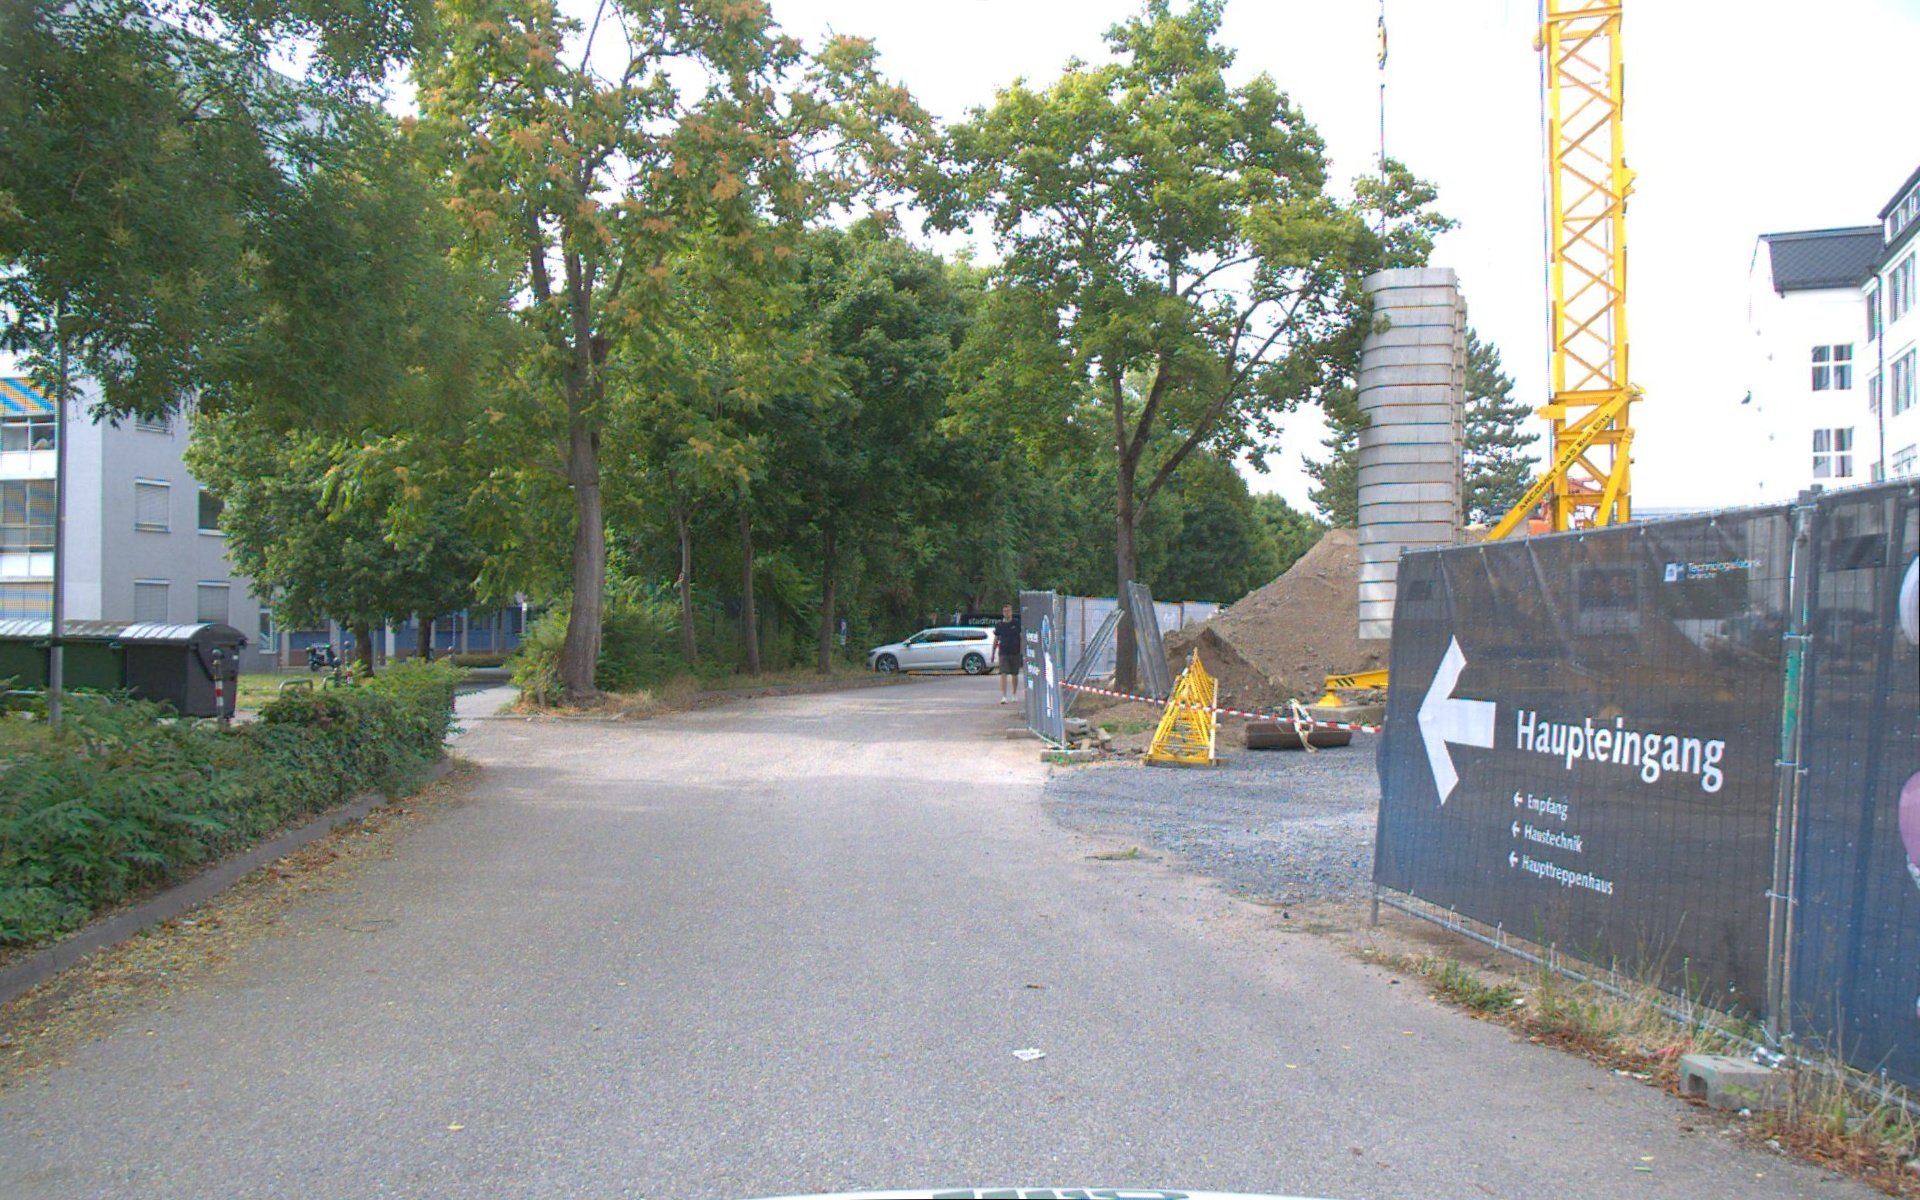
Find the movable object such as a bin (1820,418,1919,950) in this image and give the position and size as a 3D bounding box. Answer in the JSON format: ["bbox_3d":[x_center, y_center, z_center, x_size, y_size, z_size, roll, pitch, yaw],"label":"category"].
[{"bbox_3d":[5.697,0.383,7.088,2.438,2.486,3.061,0,-1,0],"label":"movable object such as a bin"}]

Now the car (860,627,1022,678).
[{"bbox_3d":[-0.559,1.612,51.393,4.690,1.514,2.001,0,-1,12],"label":"car"}]

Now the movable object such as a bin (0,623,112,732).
[{"bbox_3d":[-12.740,1.057,22.999,1.253,1.455,1.123,0,-1,18],"label":"movable object such as a bin"}]

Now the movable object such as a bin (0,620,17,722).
[{"bbox_3d":[-14.281,1.000,23.345,1.253,1.455,1.123,0,-1,18],"label":"movable object such as a bin"}]

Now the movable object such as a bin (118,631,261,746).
[{"bbox_3d":[-10.142,1.148,21.805,1.253,1.455,1.123,0,-1,18],"label":"movable object such as a bin"}]

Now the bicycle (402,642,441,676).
[{"bbox_3d":[-19.455,2.115,59.769,0.636,1.202,1.901,0,-1,4],"label":"bicycle"}]

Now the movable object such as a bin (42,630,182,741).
[{"bbox_3d":[-11.510,1.144,22.475,1.253,1.455,1.123,0,-1,18],"label":"movable object such as a bin"}]

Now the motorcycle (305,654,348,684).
[{"bbox_3d":[-28.706,3.119,74.942,0.652,1.313,2.148,0,-1,16],"label":"motorcycle"}]

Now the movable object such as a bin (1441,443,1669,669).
[{"bbox_3d":[20.052,-1.228,55.180,3.784,6.787,10.932,-1,-1,39],"label":"movable object such as a bin"}]

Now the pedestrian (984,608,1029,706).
[{"bbox_3d":[0.876,1.060,31.044,0.731,1.821,0.731,0,-2,12],"label":"pedestrian"}]

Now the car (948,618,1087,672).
[{"bbox_3d":[2.181,1.676,62.464,4.939,1.988,2.001,0,-1,16],"label":"car"}]
